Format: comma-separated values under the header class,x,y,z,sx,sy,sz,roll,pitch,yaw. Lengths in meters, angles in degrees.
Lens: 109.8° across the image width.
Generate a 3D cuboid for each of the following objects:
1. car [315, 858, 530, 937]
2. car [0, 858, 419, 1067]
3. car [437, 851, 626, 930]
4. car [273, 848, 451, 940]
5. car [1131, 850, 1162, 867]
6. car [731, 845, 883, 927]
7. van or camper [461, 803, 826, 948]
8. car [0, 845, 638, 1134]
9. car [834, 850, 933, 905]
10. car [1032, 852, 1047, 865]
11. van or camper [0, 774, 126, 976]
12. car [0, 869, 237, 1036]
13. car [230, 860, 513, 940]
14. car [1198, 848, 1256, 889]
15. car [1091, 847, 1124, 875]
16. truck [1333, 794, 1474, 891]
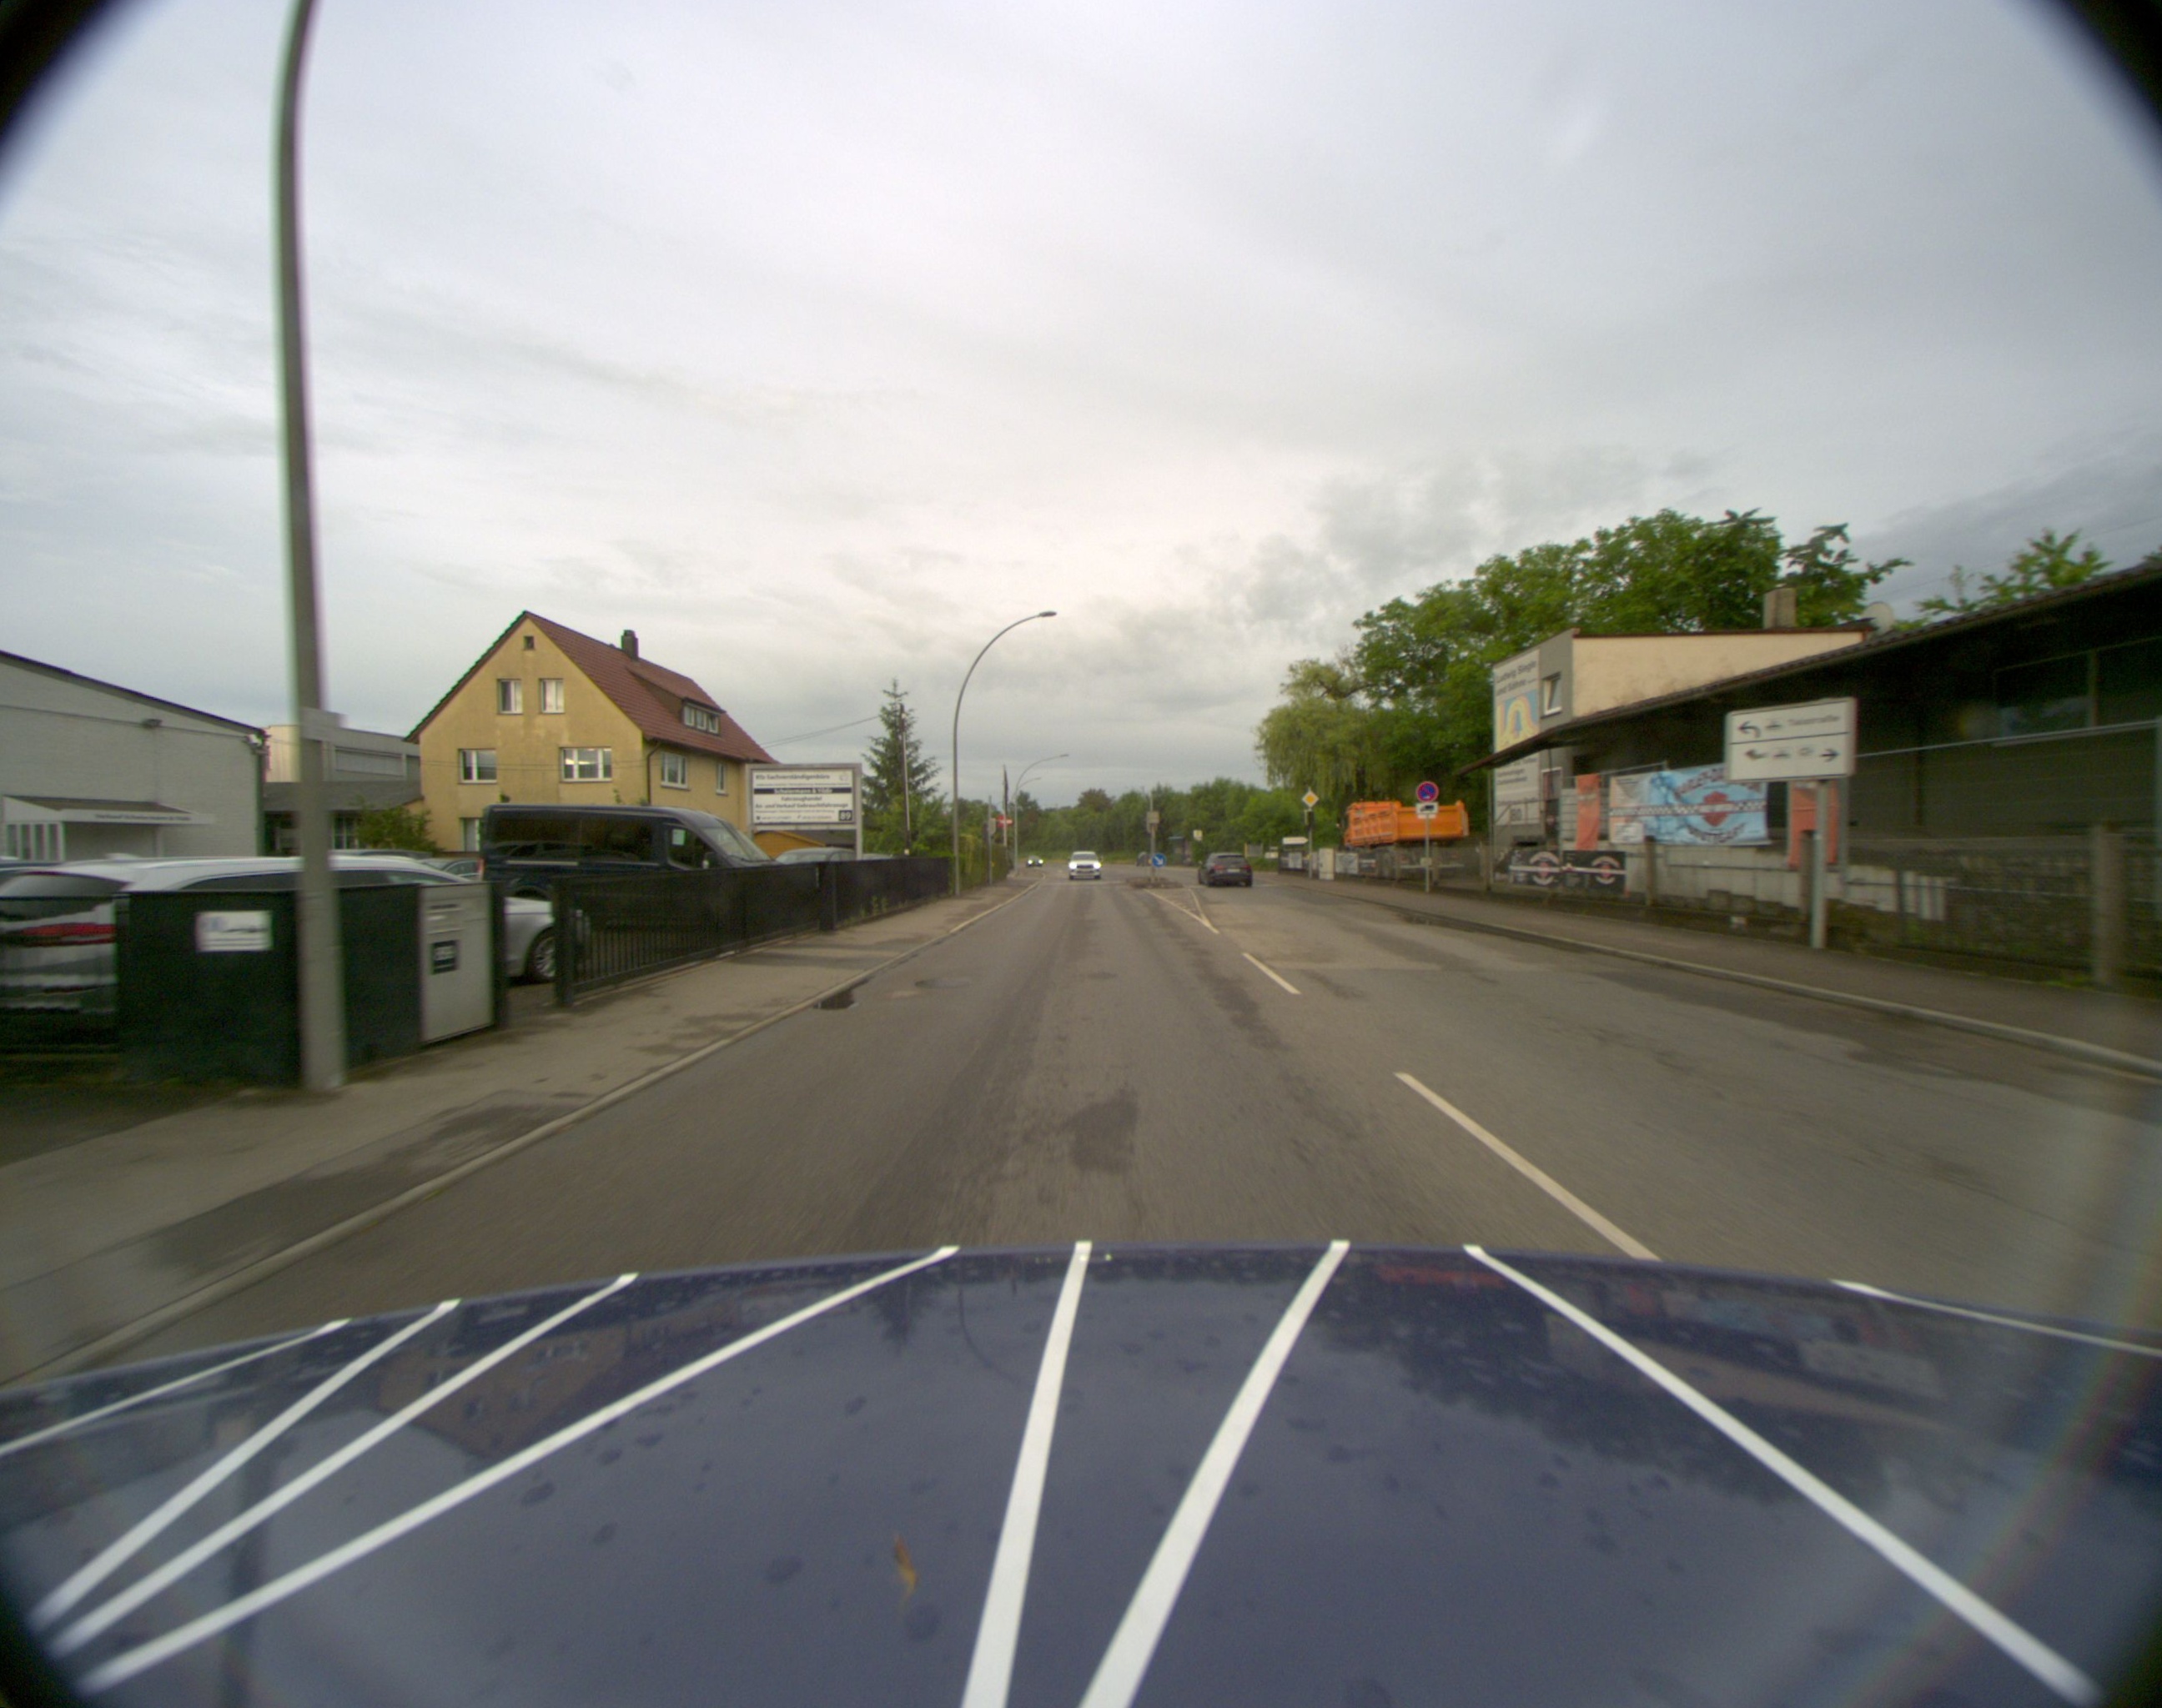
class,x,y,z,sx,sy,sz,roll,pitch,yaw
car,-16.505,1.010,19.374,1.665,1.545,3.999,-3,3,5
car,-10.217,1.033,8.254,1.886,1.641,4.100,-3,3,13
car,-13.897,0.841,19.548,1.633,1.590,3.966,-3,3,5
car,-18.895,0.966,20.180,1.580,2.040,3.134,-4,3,-2
car,6.956,0.540,81.279,2.000,1.464,4.698,-4,-2,-11
car,-6.541,0.670,18.786,1.665,1.558,4.566,-3,3,5
van or camper,-8.448,0.363,15.088,5.918,2.472,2.131,-2,3,2
car,-7.484,0.902,7.594,2.124,1.641,5.238,-3,3,13
car,-6.041,0.667,23.772,1.665,1.448,4.245,-3,1,4
car,-5.475,0.548,99.456,1.838,1.609,3.998,-1,0,-3
van or camper,-15.504,0.391,8.266,2.062,2.666,6.019,-1,3,7
car,-12.717,1.196,7.838,2.092,1.641,4.821,-3,3,13
car,-14.274,0.878,15.413,4.333,1.474,1.709,0,2,6
car,6.303,0.578,33.263,1.746,1.443,4.541,-3,3,2
car,1.527,0.405,44.988,1.848,1.565,3.827,-1,0,1
truck,13.213,-0.626,32.128,2.703,3.393,9.071,-3,3,5
